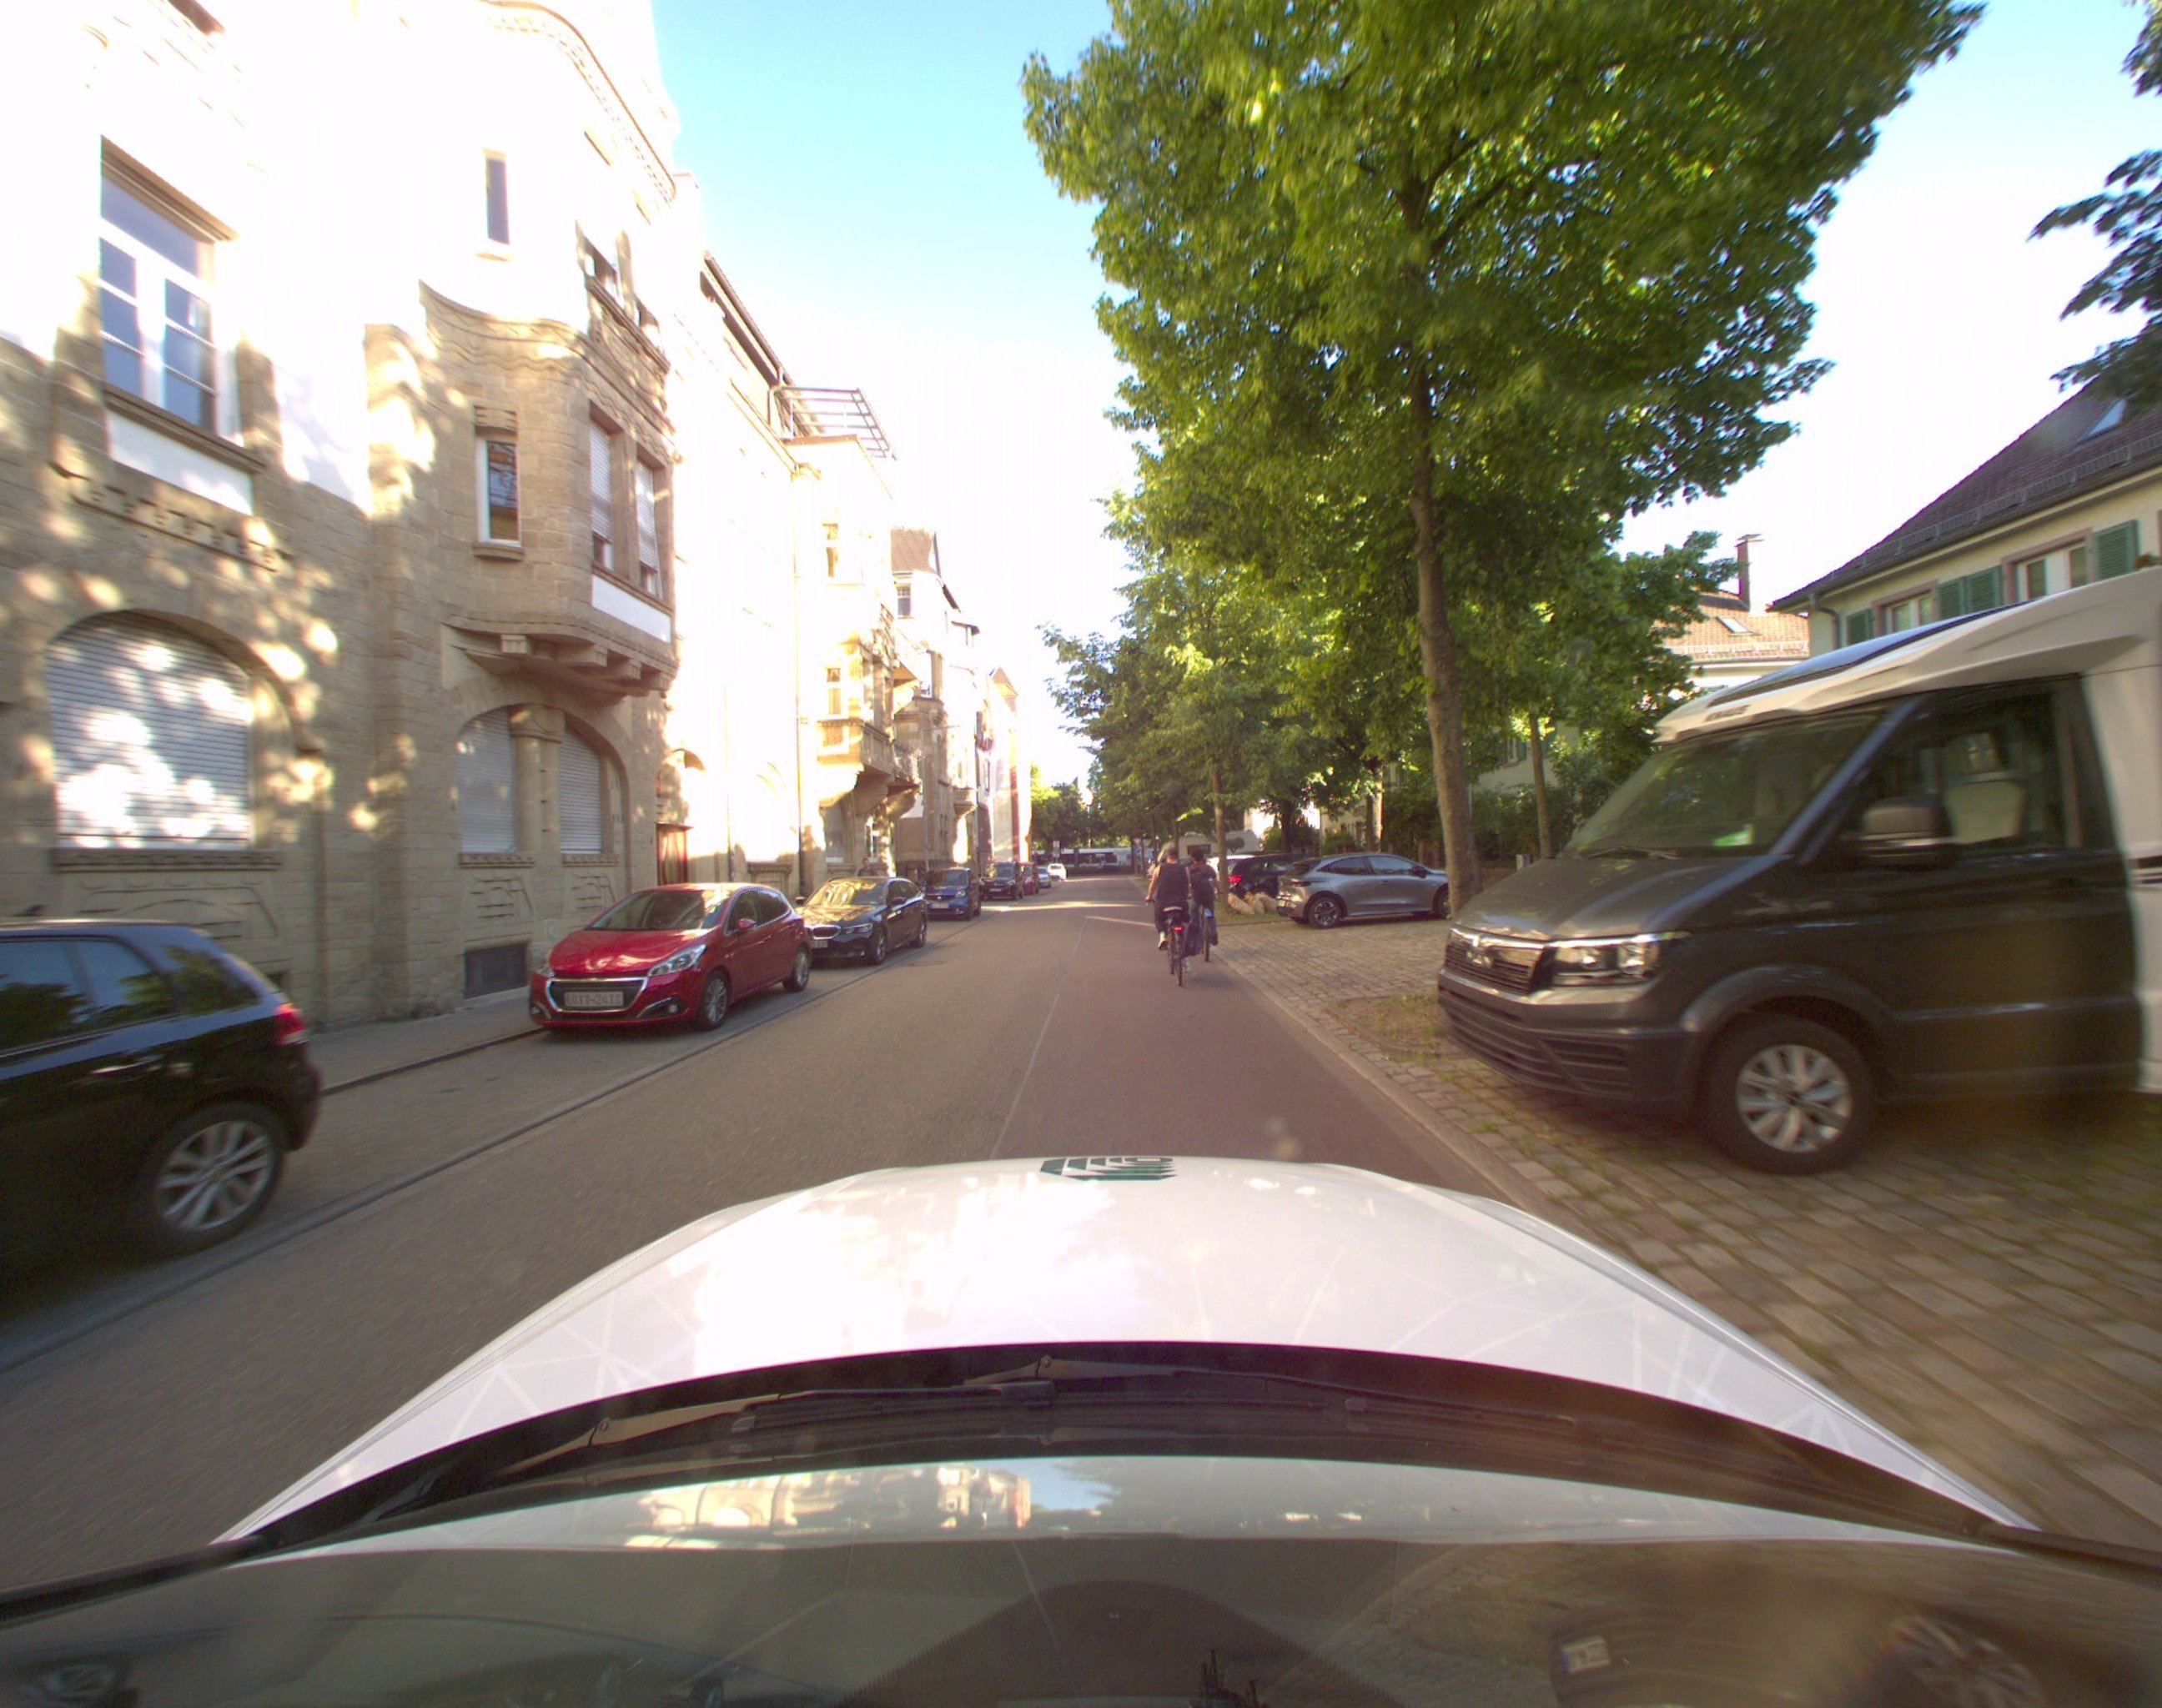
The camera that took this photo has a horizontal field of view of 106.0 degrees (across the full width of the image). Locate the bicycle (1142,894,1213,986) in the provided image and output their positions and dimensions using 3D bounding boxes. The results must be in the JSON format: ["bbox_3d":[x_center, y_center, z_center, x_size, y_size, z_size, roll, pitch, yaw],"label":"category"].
[{"bbox_3d":[1.248,1.091,10.870,0.735,1.054,1.956,0,-1,1],"label":"bicycle"}]

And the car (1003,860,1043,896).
[{"bbox_3d":[-3.111,1.288,44.457,1.682,1.826,4.275,0,0,2],"label":"car"}]

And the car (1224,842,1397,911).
[{"bbox_3d":[6.136,0.629,22.122,4.205,1.600,1.692,-3,-2,3],"label":"car"}]

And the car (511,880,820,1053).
[{"bbox_3d":[-4.460,1.097,9.465,1.624,1.453,3.836,-1,0,-1],"label":"car"}]

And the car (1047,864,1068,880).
[{"bbox_3d":[-2.080,1.597,72.730,1.577,1.375,4.134,0,0,2],"label":"car"}]

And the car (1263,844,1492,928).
[{"bbox_3d":[5.959,0.632,16.671,4.022,1.454,1.689,-2,-1,-2],"label":"car"}]

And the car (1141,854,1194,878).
[{"bbox_3d":[6.768,0.945,63.842,3.975,1.804,1.833,-1,-1,-1],"label":"car"}]

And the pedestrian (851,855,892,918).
[{"bbox_3d":[-5.929,0.928,23.126,0.934,1.742,0.735,-1,-1,2],"label":"pedestrian"}]

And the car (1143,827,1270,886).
[{"bbox_3d":[7.542,0.142,49.462,7.126,2.978,2.463,-4,-1,-1],"label":"car"}]

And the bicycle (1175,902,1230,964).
[{"bbox_3d":[1.924,1.232,13.117,0.631,0.799,1.833,-3,0,2],"label":"bicycle"}]

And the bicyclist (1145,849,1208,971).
[{"bbox_3d":[1.248,0.720,10.796,0.727,1.548,0.884,0,-1,1],"label":"bicyclist"}]

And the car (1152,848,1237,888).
[{"bbox_3d":[5.842,0.715,42.171,4.070,1.650,1.640,-5,-1,-1],"label":"car"}]

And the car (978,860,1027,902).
[{"bbox_3d":[-3.547,1.183,37.561,1.634,1.783,4.357,0,0,2],"label":"car"}]

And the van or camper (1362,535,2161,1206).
[{"bbox_3d":[5.666,-0.122,4.633,7.117,2.647,2.467,-6,-1,3],"label":"van or camper"}]

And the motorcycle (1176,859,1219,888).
[{"bbox_3d":[4.930,0.839,34.485,1.587,1.141,0.677,-3,-1,35],"label":"motorcycle"}]

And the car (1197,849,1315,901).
[{"bbox_3d":[6.041,0.748,28.465,3.757,1.600,1.692,-3,-2,3],"label":"car"}]

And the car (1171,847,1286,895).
[{"bbox_3d":[5.603,0.678,31.307,4.121,1.600,1.704,-3,-2,3],"label":"car"}]

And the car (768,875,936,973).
[{"bbox_3d":[-4.032,1.171,15.173,1.669,1.430,4.553,0,0,2],"label":"car"}]

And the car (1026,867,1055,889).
[{"bbox_3d":[-2.720,1.609,55.308,1.577,1.343,4.134,0,0,2],"label":"car"}]

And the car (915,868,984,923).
[{"bbox_3d":[-3.895,1.194,24.484,1.590,1.489,2.736,1,0,0],"label":"car"}]

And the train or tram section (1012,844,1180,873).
[{"bbox_3d":[2.367,0.575,115.376,23.890,3.709,4.256,-1,-1,-21],"label":"train or tram section"}]

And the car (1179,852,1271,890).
[{"bbox_3d":[6.967,0.851,39.610,4.126,1.600,1.701,-3,-2,-1],"label":"car"}]

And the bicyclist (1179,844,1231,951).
[{"bbox_3d":[1.965,0.676,13.047,0.686,1.627,0.999,-1,-1,2],"label":"bicyclist"}]

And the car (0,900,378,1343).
[{"bbox_3d":[-4.558,0.963,2.240,1.690,1.453,4.027,-2,-1,0],"label":"car"}]

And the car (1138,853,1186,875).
[{"bbox_3d":[7.102,0.892,71.728,3.975,1.804,1.833,-1,-1,-1],"label":"car"}]
